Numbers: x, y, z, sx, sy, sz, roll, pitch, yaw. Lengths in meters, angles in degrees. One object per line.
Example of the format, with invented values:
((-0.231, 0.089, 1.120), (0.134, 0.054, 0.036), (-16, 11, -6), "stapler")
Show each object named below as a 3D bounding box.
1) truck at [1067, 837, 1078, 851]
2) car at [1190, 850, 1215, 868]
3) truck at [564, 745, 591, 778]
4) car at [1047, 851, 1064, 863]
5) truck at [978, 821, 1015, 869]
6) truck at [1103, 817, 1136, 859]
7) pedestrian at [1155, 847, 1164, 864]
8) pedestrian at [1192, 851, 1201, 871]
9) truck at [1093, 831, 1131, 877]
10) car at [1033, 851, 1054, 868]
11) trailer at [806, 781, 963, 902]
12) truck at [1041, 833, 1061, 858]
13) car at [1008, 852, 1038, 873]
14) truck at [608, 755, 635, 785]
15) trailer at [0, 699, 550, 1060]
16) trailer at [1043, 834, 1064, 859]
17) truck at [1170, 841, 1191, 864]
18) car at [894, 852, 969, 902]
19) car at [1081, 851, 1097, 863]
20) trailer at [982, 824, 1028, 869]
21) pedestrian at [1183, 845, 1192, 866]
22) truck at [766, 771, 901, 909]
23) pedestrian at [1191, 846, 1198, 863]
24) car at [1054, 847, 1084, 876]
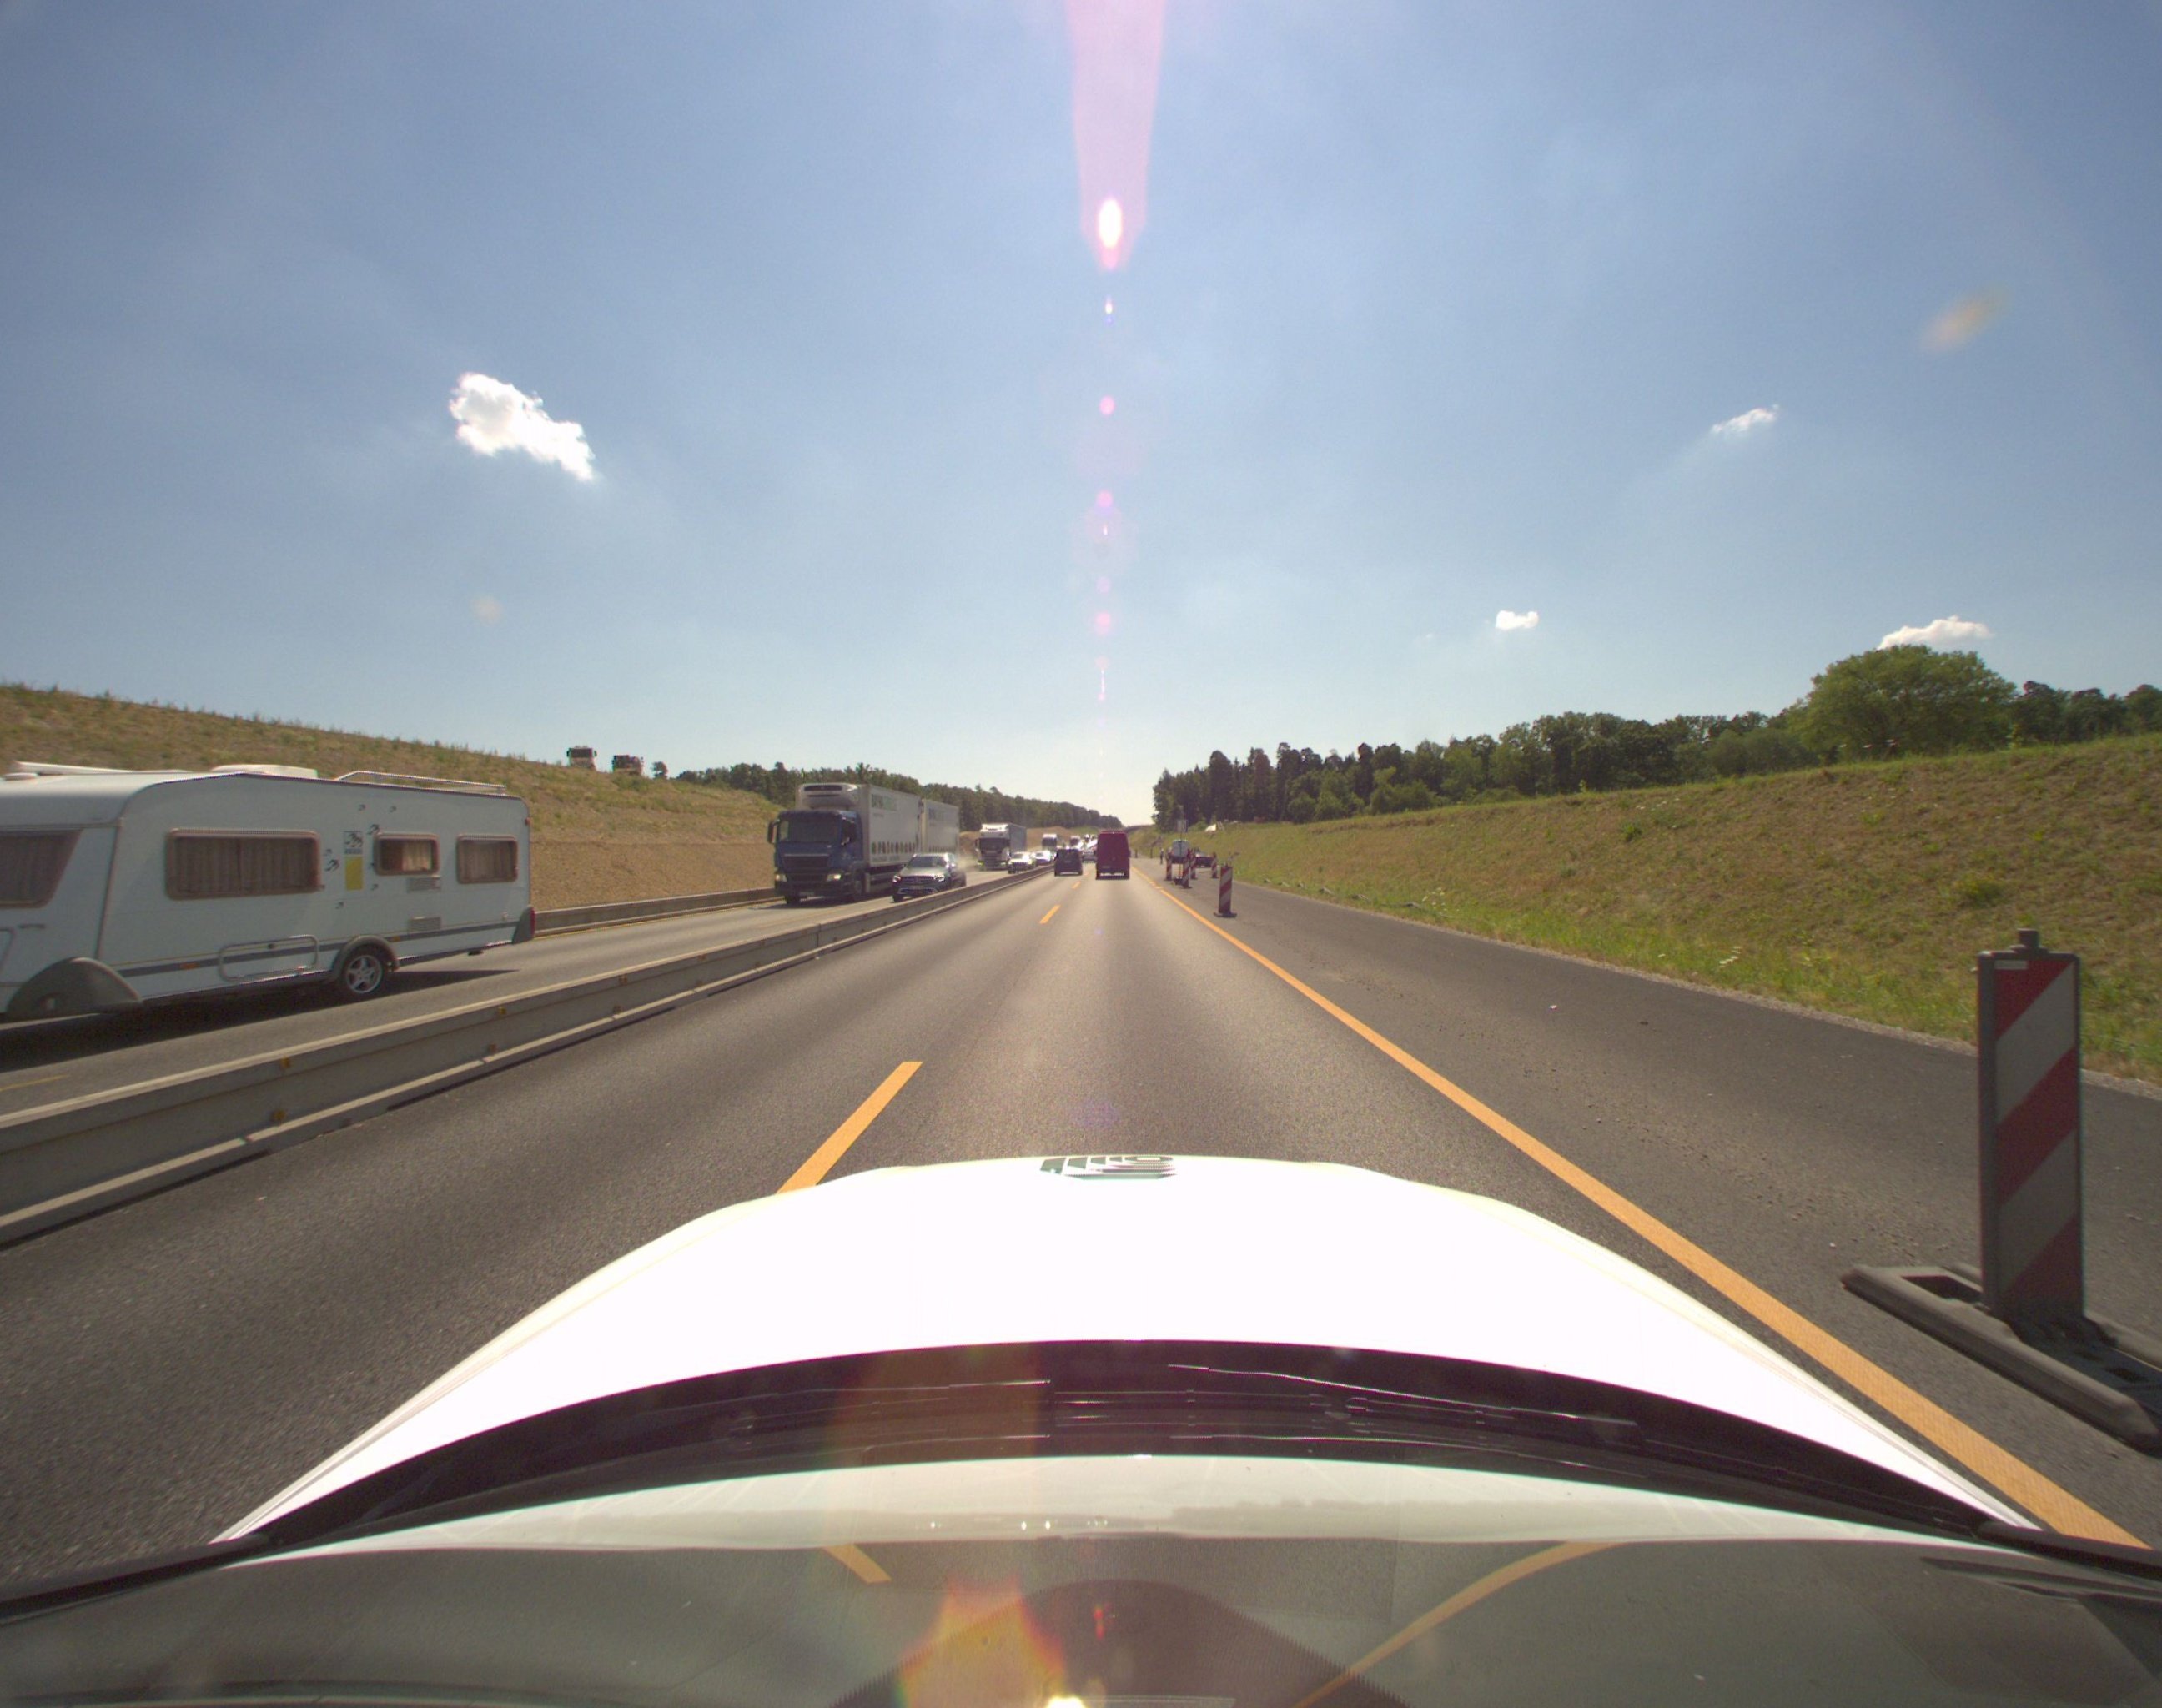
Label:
((-2.454, -2.796, 234.412), (2.499, 3.617, 9.647), (0, -1, 3), "truck")
((10.810, 0.419, 72.647), (1.647, 1.426, 4.548), (-3, 0, 2), "car")
((-59.864, -10.874, 96.733), (2.371, 2.898, 8.279), (0, -1, -34), "truck")
((-2.988, 0.378, 94.664), (1.723, 1.387, 4.861), (0, -1, 1), "car")
((-7.349, -0.743, 71.088), (2.583, 4.053, 5.151), (0, 0, 1), "truck")
((5.465, -2.071, 117.369), (4.383, 5.496, 16.610), (0, -1, 2), "truck")
((8.418, 0.151, 87.201), (0.726, 1.828, 0.715), (0, -1, -21), "pedestrian")
((10.699, 0.643, 75.523), (0.624, 1.828, 0.640), (0, 0, -10), "pedestrian")
((1.822, 0.032, 48.559), (2.145, 2.590, 5.335), (0, -1, 2), "truck")
((-3.654, 0.482, 80.365), (1.769, 1.555, 4.140), (-3, 0, 1), "car")
((-8.071, -0.442, 36.551), (2.492, 4.179, 15.542), (-2, 0, 2), "trailer")
((-4.902, -1.384, 132.980), (2.757, 4.044, 4.946), (0, -1, 2), "truck")
((-4.282, 0.649, 60.489), (1.801, 1.488, 4.244), (0, -1, 1), "car")
((-59.034, -10.704, 104.549), (2.311, 2.749, 8.813), (0, -1, -34), "truck")
((-9.115, 0.228, 8.634), (2.303, 2.686, 6.758), (-2, 0, 2), "trailer")
((-4.662, -1.348, 139.825), (2.780, 4.075, 13.717), (0, 0, 2), "trailer")
((11.153, -0.162, 90.702), (2.117, 2.457, 5.940), (0, 1, 9), "truck")
((-5.205, 0.774, 28.958), (1.682, 1.613, 4.595), (0, -1, 2), "car")
((1.031, 0.389, 99.804), (1.824, 1.522, 3.963), (0, -1, 2), "car")
((-7.083, -0.659, 78.445), (2.643, 3.938, 14.002), (0, 0, 2), "trailer")
((9.464, 0.140, 72.325), (0.642, 1.828, 0.555), (0, 0, -19), "pedestrian")
((-8.396, -0.435, 28.430), (2.481, 4.198, 5.916), (-2, 0, 3), "truck")
((12.091, 0.056, 86.742), (0.561, 1.795, 0.667), (0, -1, 0), "pedestrian")
((-0.755, 0.456, 54.933), (1.745, 1.824, 4.785), (0, 0, 2), "car")
